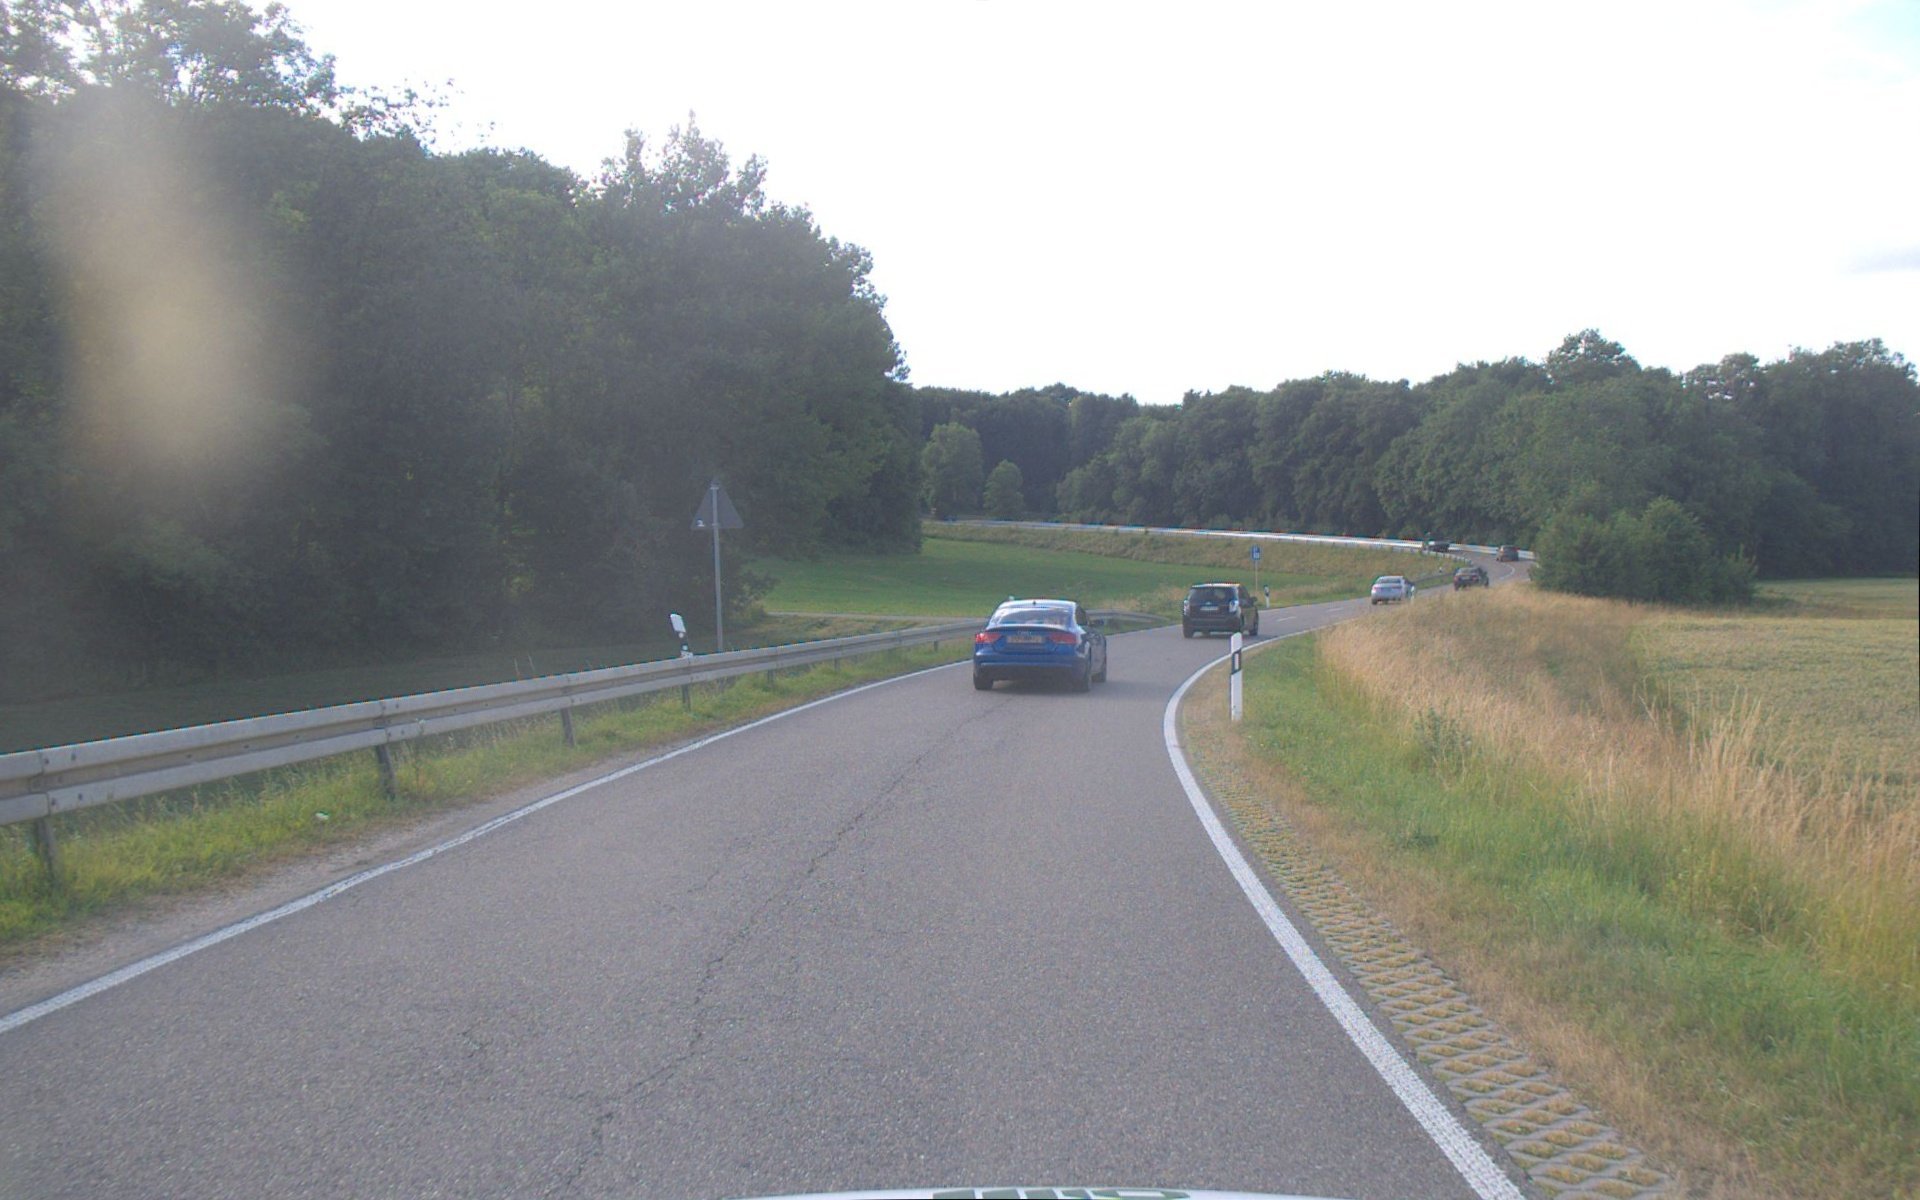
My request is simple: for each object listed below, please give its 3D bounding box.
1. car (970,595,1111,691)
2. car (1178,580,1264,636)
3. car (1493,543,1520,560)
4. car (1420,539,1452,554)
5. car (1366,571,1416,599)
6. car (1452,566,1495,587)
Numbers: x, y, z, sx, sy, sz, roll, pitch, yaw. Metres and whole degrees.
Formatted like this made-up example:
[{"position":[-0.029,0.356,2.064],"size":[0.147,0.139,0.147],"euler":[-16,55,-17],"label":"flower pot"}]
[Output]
[{"position":[1.385,0.634,26.578],"size":[1.779,1.362,4.354],"euler":[-1,1,9],"label":"car"},{"position":[7.985,0.244,50.394],"size":[1.823,1.596,4.001],"euler":[-1,-1,20],"label":"car"},{"position":[56.429,-5.016,170.791],"size":[1.951,1.708,4.183],"euler":[0,2,9],"label":"car"},{"position":[58.589,-6.622,203.714],"size":[1.961,1.802,3.984],"euler":[-1,3,-16],"label":"car"},{"position":[22.475,-0.777,86.119],"size":[1.650,1.400,3.995],"euler":[-2,0,27],"label":"car"},{"position":[33.673,-1.530,108.400],"size":[1.449,1.248,3.280],"euler":[-3,-1,42],"label":"car"}]
